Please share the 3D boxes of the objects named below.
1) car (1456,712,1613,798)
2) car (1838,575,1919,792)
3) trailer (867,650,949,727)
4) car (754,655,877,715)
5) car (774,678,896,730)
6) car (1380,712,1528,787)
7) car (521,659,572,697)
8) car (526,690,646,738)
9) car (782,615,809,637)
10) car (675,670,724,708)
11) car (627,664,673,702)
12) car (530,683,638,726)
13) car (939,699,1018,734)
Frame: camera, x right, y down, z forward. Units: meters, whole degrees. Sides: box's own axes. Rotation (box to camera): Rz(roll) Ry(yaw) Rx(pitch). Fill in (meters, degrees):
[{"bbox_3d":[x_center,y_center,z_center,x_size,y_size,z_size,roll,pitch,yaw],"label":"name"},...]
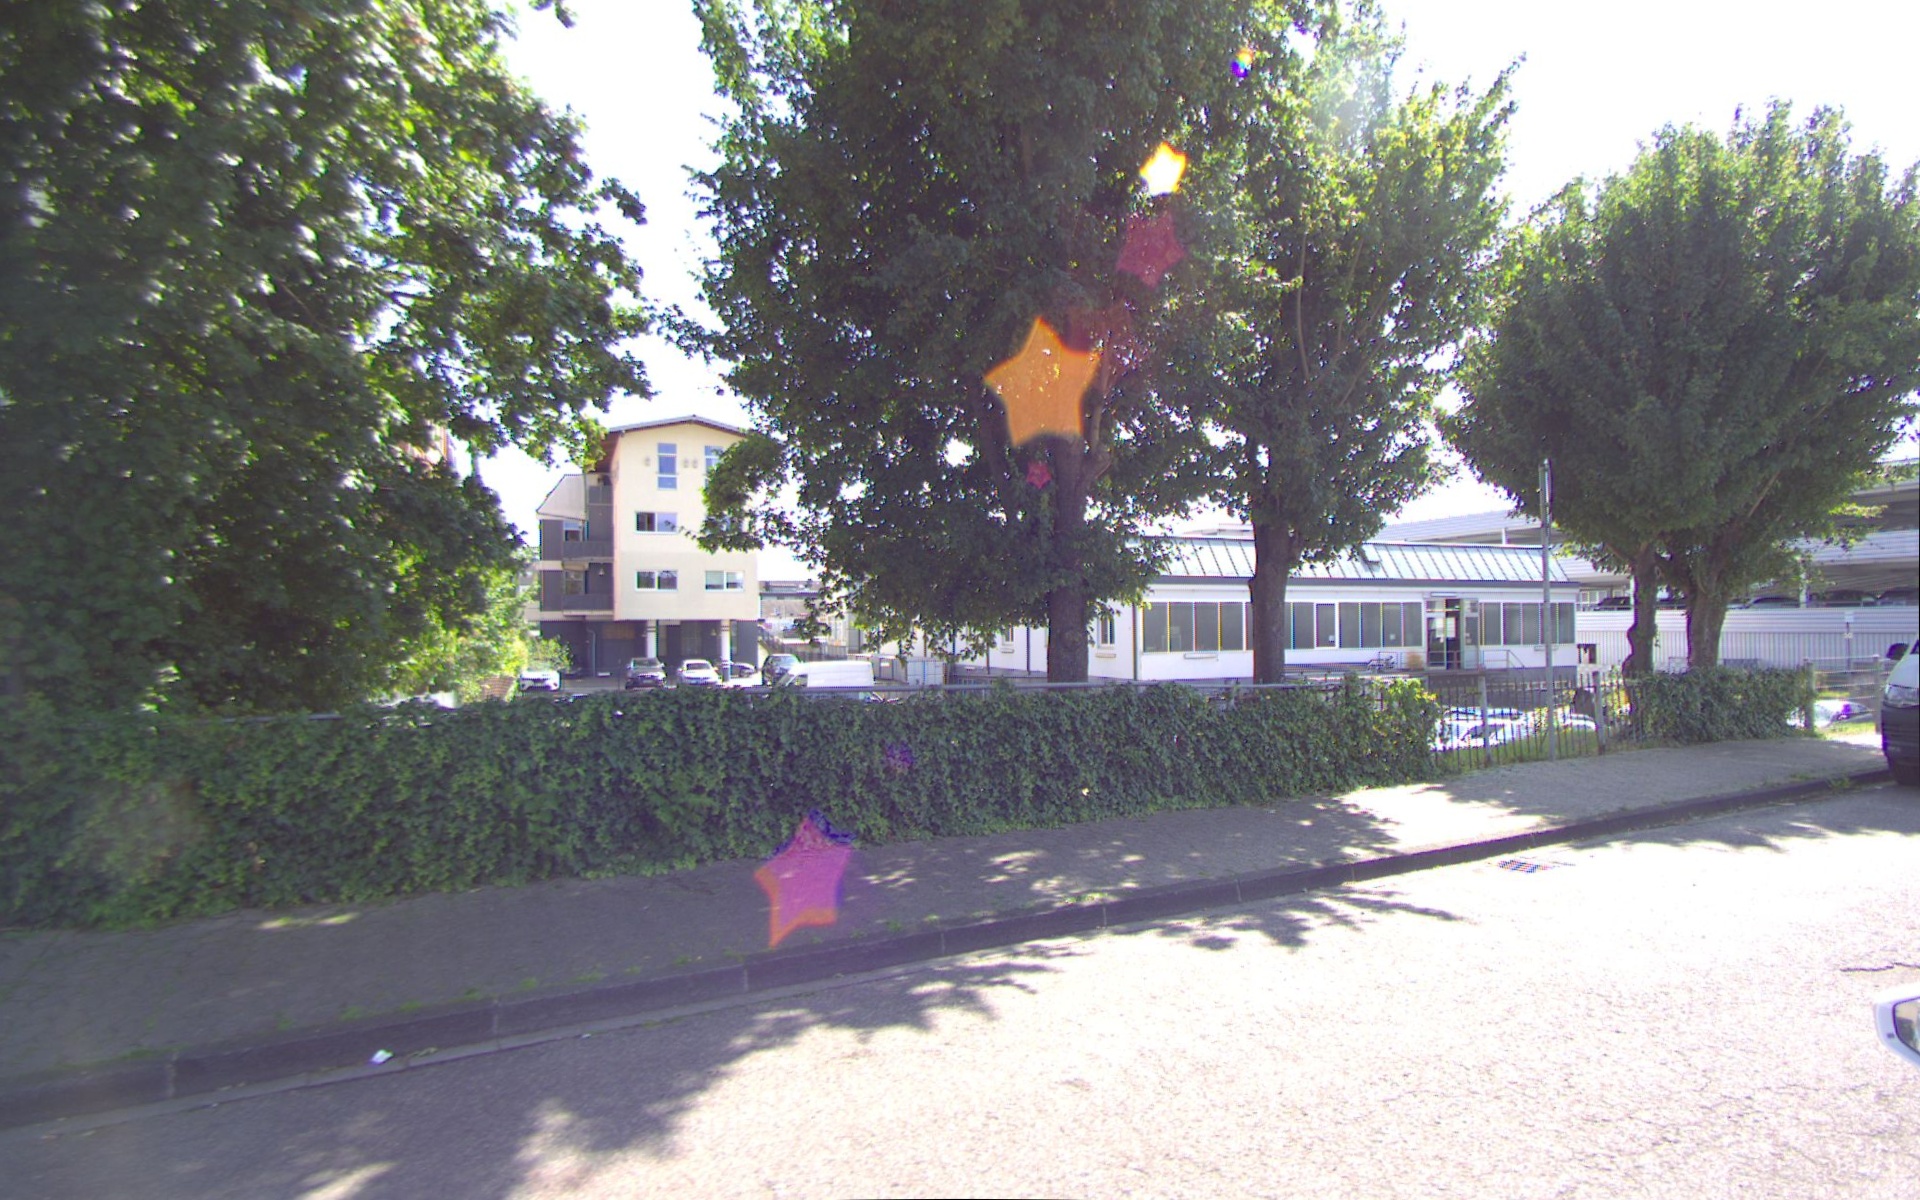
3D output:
[{"bbox_3d":[15.961,4.210,27.865,4.302,1.955,1.853,2,-1,-30],"label":"car"},{"bbox_3d":[11.382,0.808,10.326,4.996,2.040,1.963,1,-4,-30],"label":"car"},{"bbox_3d":[-3.184,5.078,59.275,2.716,4.047,6.847,0,-1,-22],"label":"trailer"},{"bbox_3d":[-7.325,4.272,50.952,5.845,2.913,2.433,1,-4,-21],"label":"car"},{"bbox_3d":[-5.350,4.391,42.954,4.853,2.048,1.991,1,-3,-21],"label":"car"},{"bbox_3d":[14.819,4.393,30.092,4.365,1.875,1.910,2,-2,-30],"label":"car"},{"bbox_3d":[-20.551,3.838,50.062,2.084,1.699,4.582,2,-2,-19],"label":"car"},{"bbox_3d":[-15.338,4.656,41.325,4.534,1.699,1.814,0,-4,-22],"label":"car"},{"bbox_3d":[-16.315,2.579,99.784,1.969,2.039,3.984,1,-4,-20],"label":"car"},{"bbox_3d":[-13.710,4.623,52.695,2.083,1.699,4.582,1,-2,-19],"label":"car"},{"bbox_3d":[-15.986,4.224,51.670,2.084,1.699,4.582,2,-2,-19],"label":"car"},{"bbox_3d":[-17.213,4.751,46.070,4.534,1.699,1.814,0,-4,-22],"label":"car"},{"bbox_3d":[0.914,5.773,49.990,3.544,1.537,1.783,1,-4,-21],"label":"car"}]
